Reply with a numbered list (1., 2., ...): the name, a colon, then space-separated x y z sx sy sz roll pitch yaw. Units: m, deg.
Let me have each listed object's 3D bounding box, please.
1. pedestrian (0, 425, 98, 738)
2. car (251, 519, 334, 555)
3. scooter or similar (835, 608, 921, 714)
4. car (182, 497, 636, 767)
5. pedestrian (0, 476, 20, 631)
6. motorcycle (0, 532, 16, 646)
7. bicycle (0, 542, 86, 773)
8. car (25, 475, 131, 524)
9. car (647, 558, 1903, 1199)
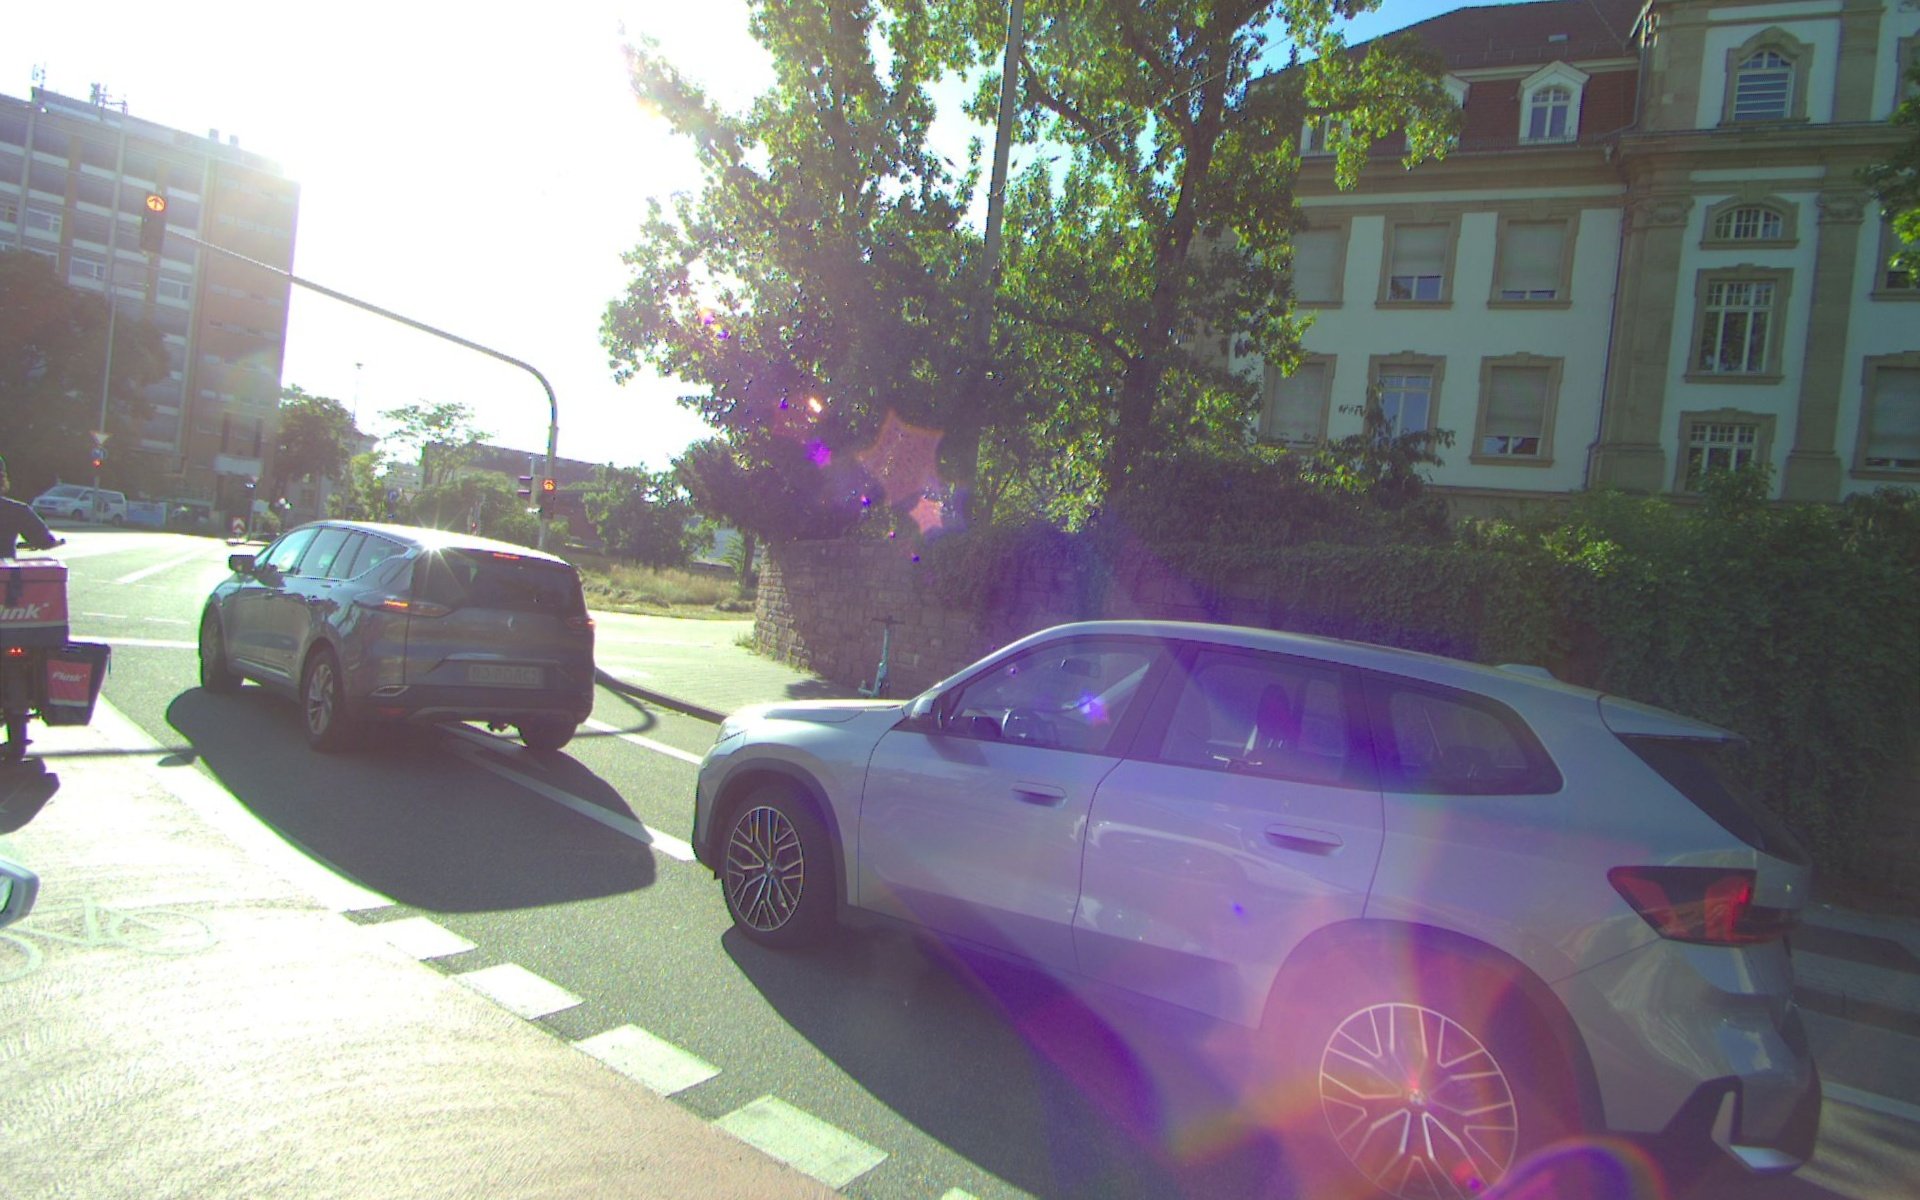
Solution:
1. pedestrian: -6.216 -0.145 6.393 0.943 1.890 0.806 6 -1 40
2. car: -48.281 -4.502 72.859 4.647 1.969 1.903 7 0 -25
3. scooter or similar: -1.156 0.820 13.881 0.569 1.285 1.414 6 0 -27
4. car: -4.838 0.164 8.555 4.307 1.709 1.830 6 -2 40
5. pedestrian: -8.711 -0.300 8.747 0.585 1.617 1.013 8 -1 -41
6. motorcycle: -8.936 -0.080 8.921 0.611 1.110 2.334 8 -2 -41
7. bicycle: -5.991 0.257 6.178 2.340 1.185 0.553 6 -2 42
8. car: -47.529 -5.367 54.365 1.881 1.969 4.700 6 0 -7
9. car: 0.826 0.884 4.242 4.263 1.612 1.788 6 -2 37
